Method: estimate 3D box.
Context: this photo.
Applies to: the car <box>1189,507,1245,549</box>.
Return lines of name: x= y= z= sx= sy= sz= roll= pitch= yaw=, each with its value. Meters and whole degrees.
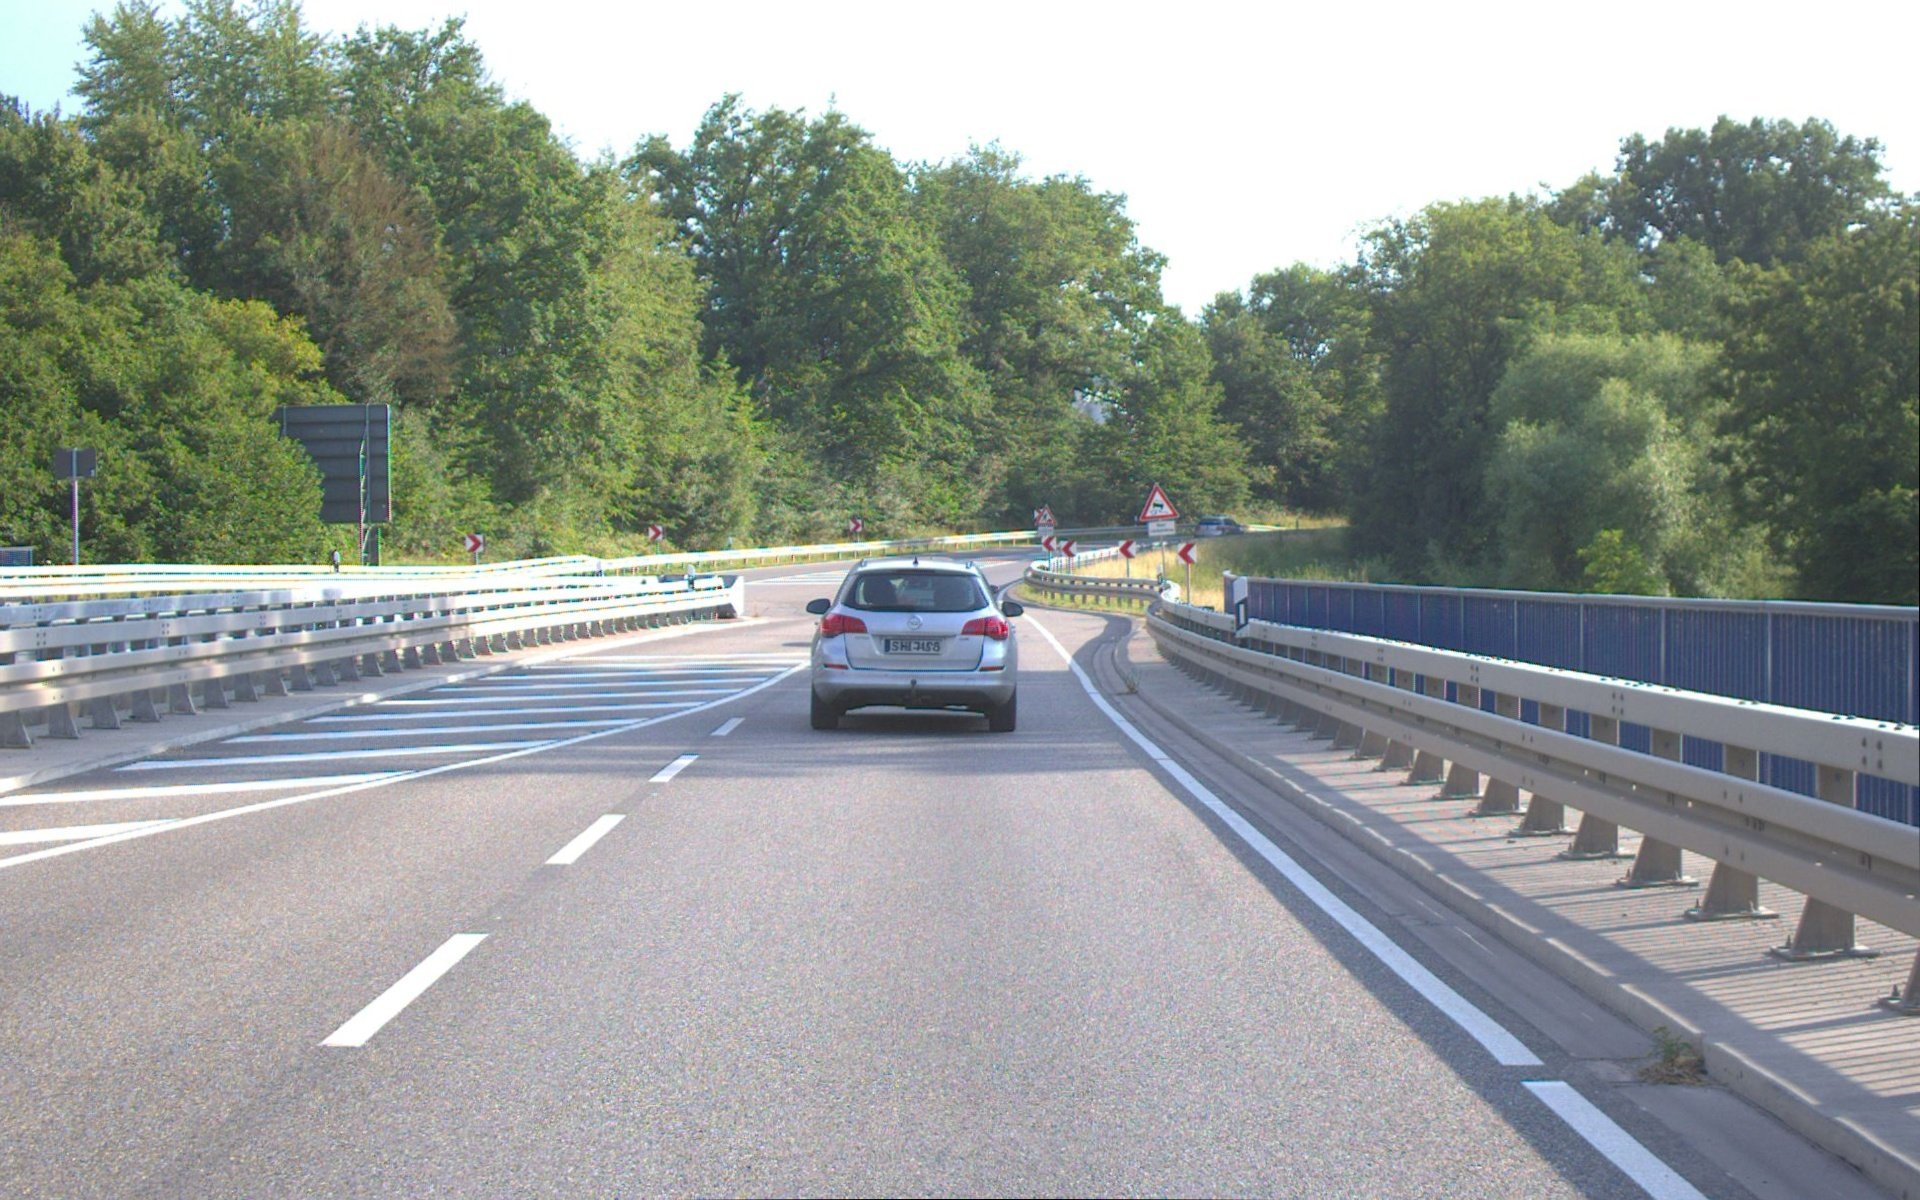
car: x=13.400 y=-3.741 z=178.824 sx=1.995 sy=2.007 sz=3.996 roll=1 pitch=0 yaw=18

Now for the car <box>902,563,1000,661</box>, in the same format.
car: x=-0.220 y=0.264 z=74.133 sx=1.993 sy=2.007 sz=4.000 roll=1 pitch=0 yaw=-1

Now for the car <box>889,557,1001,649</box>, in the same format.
car: x=-0.290 y=0.059 z=58.839 sx=1.809 sy=1.481 sz=4.000 roll=1 pitch=0 yaw=-1

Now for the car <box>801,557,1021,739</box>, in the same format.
car: x=-0.452 y=0.412 z=30.687 sx=1.809 sy=1.481 sz=4.000 roll=1 pitch=0 yaw=-1
